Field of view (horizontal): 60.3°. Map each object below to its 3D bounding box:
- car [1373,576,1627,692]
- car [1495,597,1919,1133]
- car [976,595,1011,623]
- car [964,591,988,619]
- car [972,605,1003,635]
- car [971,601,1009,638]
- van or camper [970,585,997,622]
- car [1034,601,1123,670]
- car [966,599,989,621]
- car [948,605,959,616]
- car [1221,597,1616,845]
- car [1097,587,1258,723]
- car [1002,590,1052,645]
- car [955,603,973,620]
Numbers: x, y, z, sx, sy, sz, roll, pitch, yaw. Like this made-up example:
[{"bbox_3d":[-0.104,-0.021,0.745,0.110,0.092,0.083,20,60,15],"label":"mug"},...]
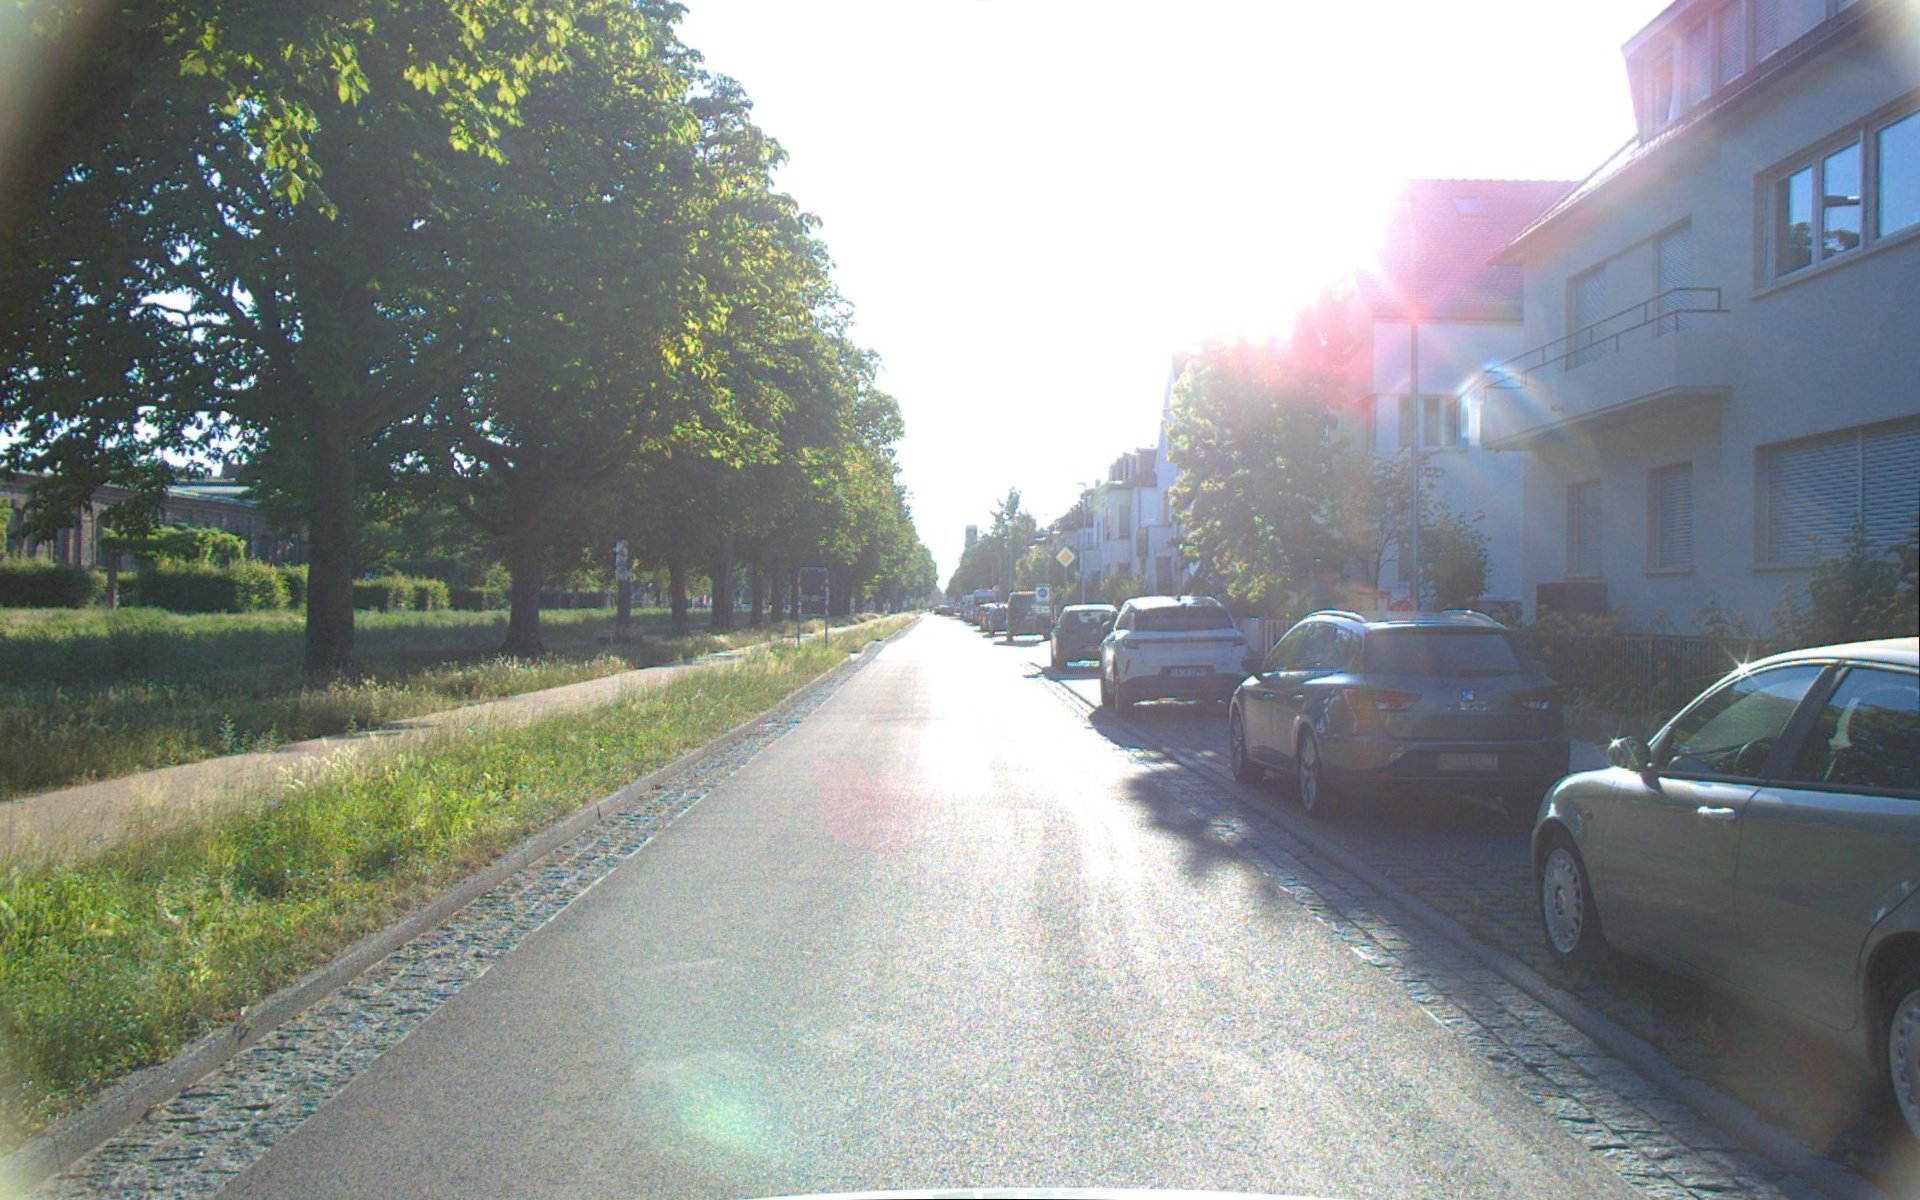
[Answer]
[{"bbox_3d":[9.662,0.588,29.768,3.906,1.877,1.813,2,1,-6],"label":"car"},{"bbox_3d":[3.433,0.710,5.736,1.757,1.404,4.077,-2,0,-1],"label":"car"},{"bbox_3d":[1.945,0.557,97.972,1.684,1.601,4.206,-2,-1,-4],"label":"car"},{"bbox_3d":[1.542,0.487,161.528,2.084,2.577,5.186,-1,0,-3],"label":"car"},{"bbox_3d":[1.711,1.251,103.524,1.795,1.714,4.414,2,0,-1],"label":"car"},{"bbox_3d":[1.531,0.999,85.965,1.757,1.802,4.471,-2,0,-1],"label":"car"},{"bbox_3d":[1.848,0.304,131.274,1.904,2.826,5.938,2,-1,0],"label":"van or camper"},{"bbox_3d":[2.779,0.805,39.517,1.757,1.508,4.123,-2,0,-1],"label":"car"},{"bbox_3d":[1.282,0.743,124.682,1.630,1.621,4.085,2,0,0],"label":"car"},{"bbox_3d":[-0.972,1.598,249.253,1.616,1.557,3.851,4,0,1],"label":"car"},{"bbox_3d":[3.243,0.770,12.590,1.757,1.520,4.193,-2,0,-1],"label":"car"},{"bbox_3d":[3.081,0.715,24.318,1.866,1.738,4.576,-2,1,2],"label":"car"},{"bbox_3d":[2.797,0.712,69.671,1.867,2.169,4.814,-2,0,0],"label":"car"},{"bbox_3d":[0.390,1.063,155.371,1.616,1.557,3.851,-1,0,1],"label":"car"}]
